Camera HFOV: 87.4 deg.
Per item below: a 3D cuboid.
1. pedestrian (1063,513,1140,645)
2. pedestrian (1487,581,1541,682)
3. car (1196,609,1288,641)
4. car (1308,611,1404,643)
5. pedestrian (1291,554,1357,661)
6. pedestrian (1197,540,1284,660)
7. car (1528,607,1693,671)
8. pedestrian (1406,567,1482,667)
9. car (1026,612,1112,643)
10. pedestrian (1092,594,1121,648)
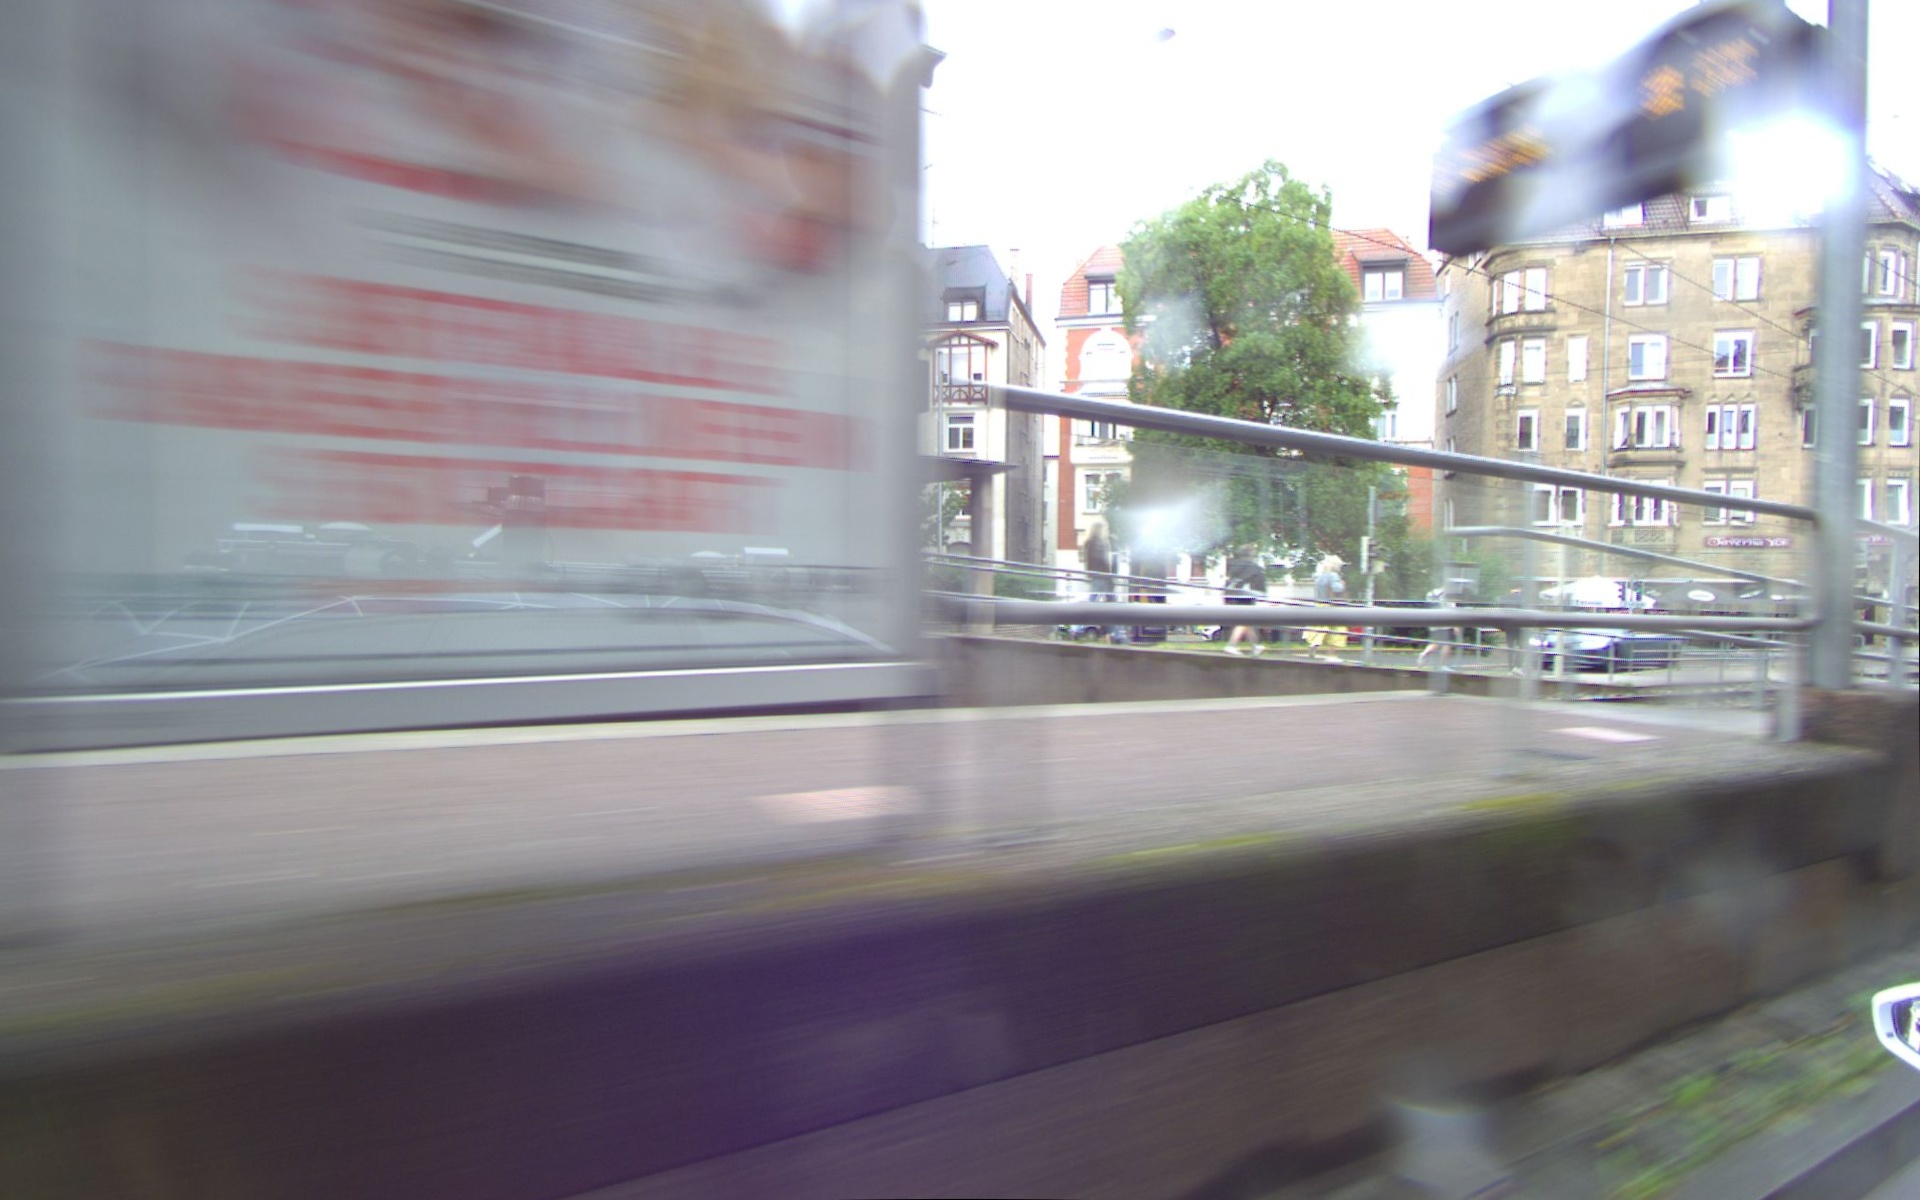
[{"bbox_3d":[1.929,-0.279,13.714,0.681,1.721,0.660,3,1,-33],"label":"pedestrian"},{"bbox_3d":[10.427,0.586,18.912,0.790,1.842,0.508,1,1,-30],"label":"pedestrian"},{"bbox_3d":[13.424,1.193,47.999,4.083,1.421,1.743,1,-1,12],"label":"car"},{"bbox_3d":[18.446,1.260,46.927,3.919,1.421,1.743,1,-1,12],"label":"car"},{"bbox_3d":[5.847,0.126,16.164,0.633,1.669,0.740,2,-1,-30],"label":"pedestrian"},{"bbox_3d":[4.229,-0.001,15.174,0.873,1.718,0.740,5,0,-30],"label":"pedestrian"},{"bbox_3d":[16.891,0.991,26.006,4.708,1.517,1.636,1,0,-30],"label":"car"},{"bbox_3d":[8.150,0.285,16.920,0.945,1.604,0.689,3,0,-30],"label":"pedestrian"},{"bbox_3d":[5.430,1.361,49.730,4.059,1.421,1.743,1,-1,12],"label":"car"},{"bbox_3d":[4.627,0.667,31.685,0.681,1.697,0.600,1,-1,-33],"label":"pedestrian"}]
